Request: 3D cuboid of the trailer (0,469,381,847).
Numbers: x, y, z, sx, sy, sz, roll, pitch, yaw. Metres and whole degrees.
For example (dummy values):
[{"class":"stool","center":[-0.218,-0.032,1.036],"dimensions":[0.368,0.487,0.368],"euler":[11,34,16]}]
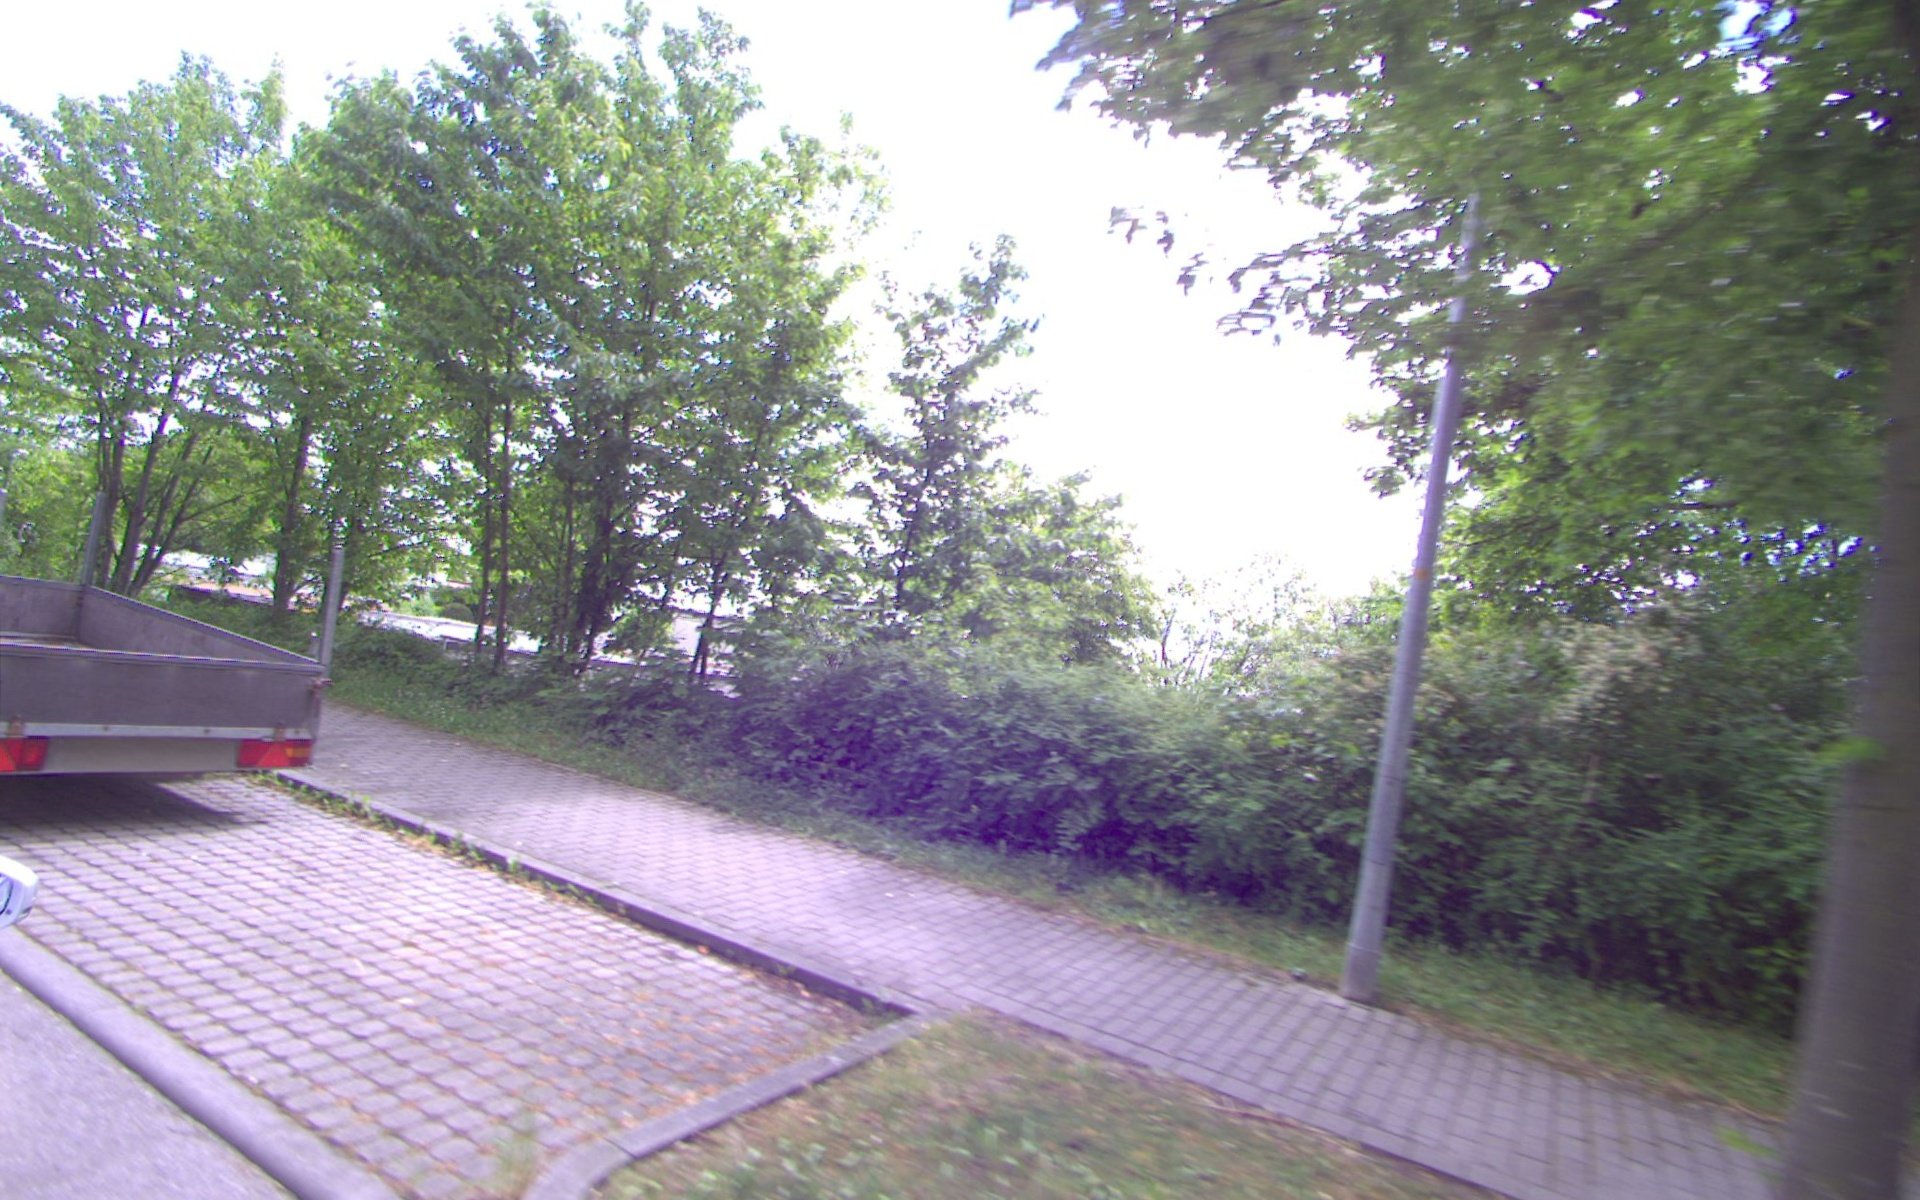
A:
[{"class":"trailer","center":[-5.335,0.074,5.566],"dimensions":[3.931,1.543,1.789],"euler":[8,-2,29]}]
